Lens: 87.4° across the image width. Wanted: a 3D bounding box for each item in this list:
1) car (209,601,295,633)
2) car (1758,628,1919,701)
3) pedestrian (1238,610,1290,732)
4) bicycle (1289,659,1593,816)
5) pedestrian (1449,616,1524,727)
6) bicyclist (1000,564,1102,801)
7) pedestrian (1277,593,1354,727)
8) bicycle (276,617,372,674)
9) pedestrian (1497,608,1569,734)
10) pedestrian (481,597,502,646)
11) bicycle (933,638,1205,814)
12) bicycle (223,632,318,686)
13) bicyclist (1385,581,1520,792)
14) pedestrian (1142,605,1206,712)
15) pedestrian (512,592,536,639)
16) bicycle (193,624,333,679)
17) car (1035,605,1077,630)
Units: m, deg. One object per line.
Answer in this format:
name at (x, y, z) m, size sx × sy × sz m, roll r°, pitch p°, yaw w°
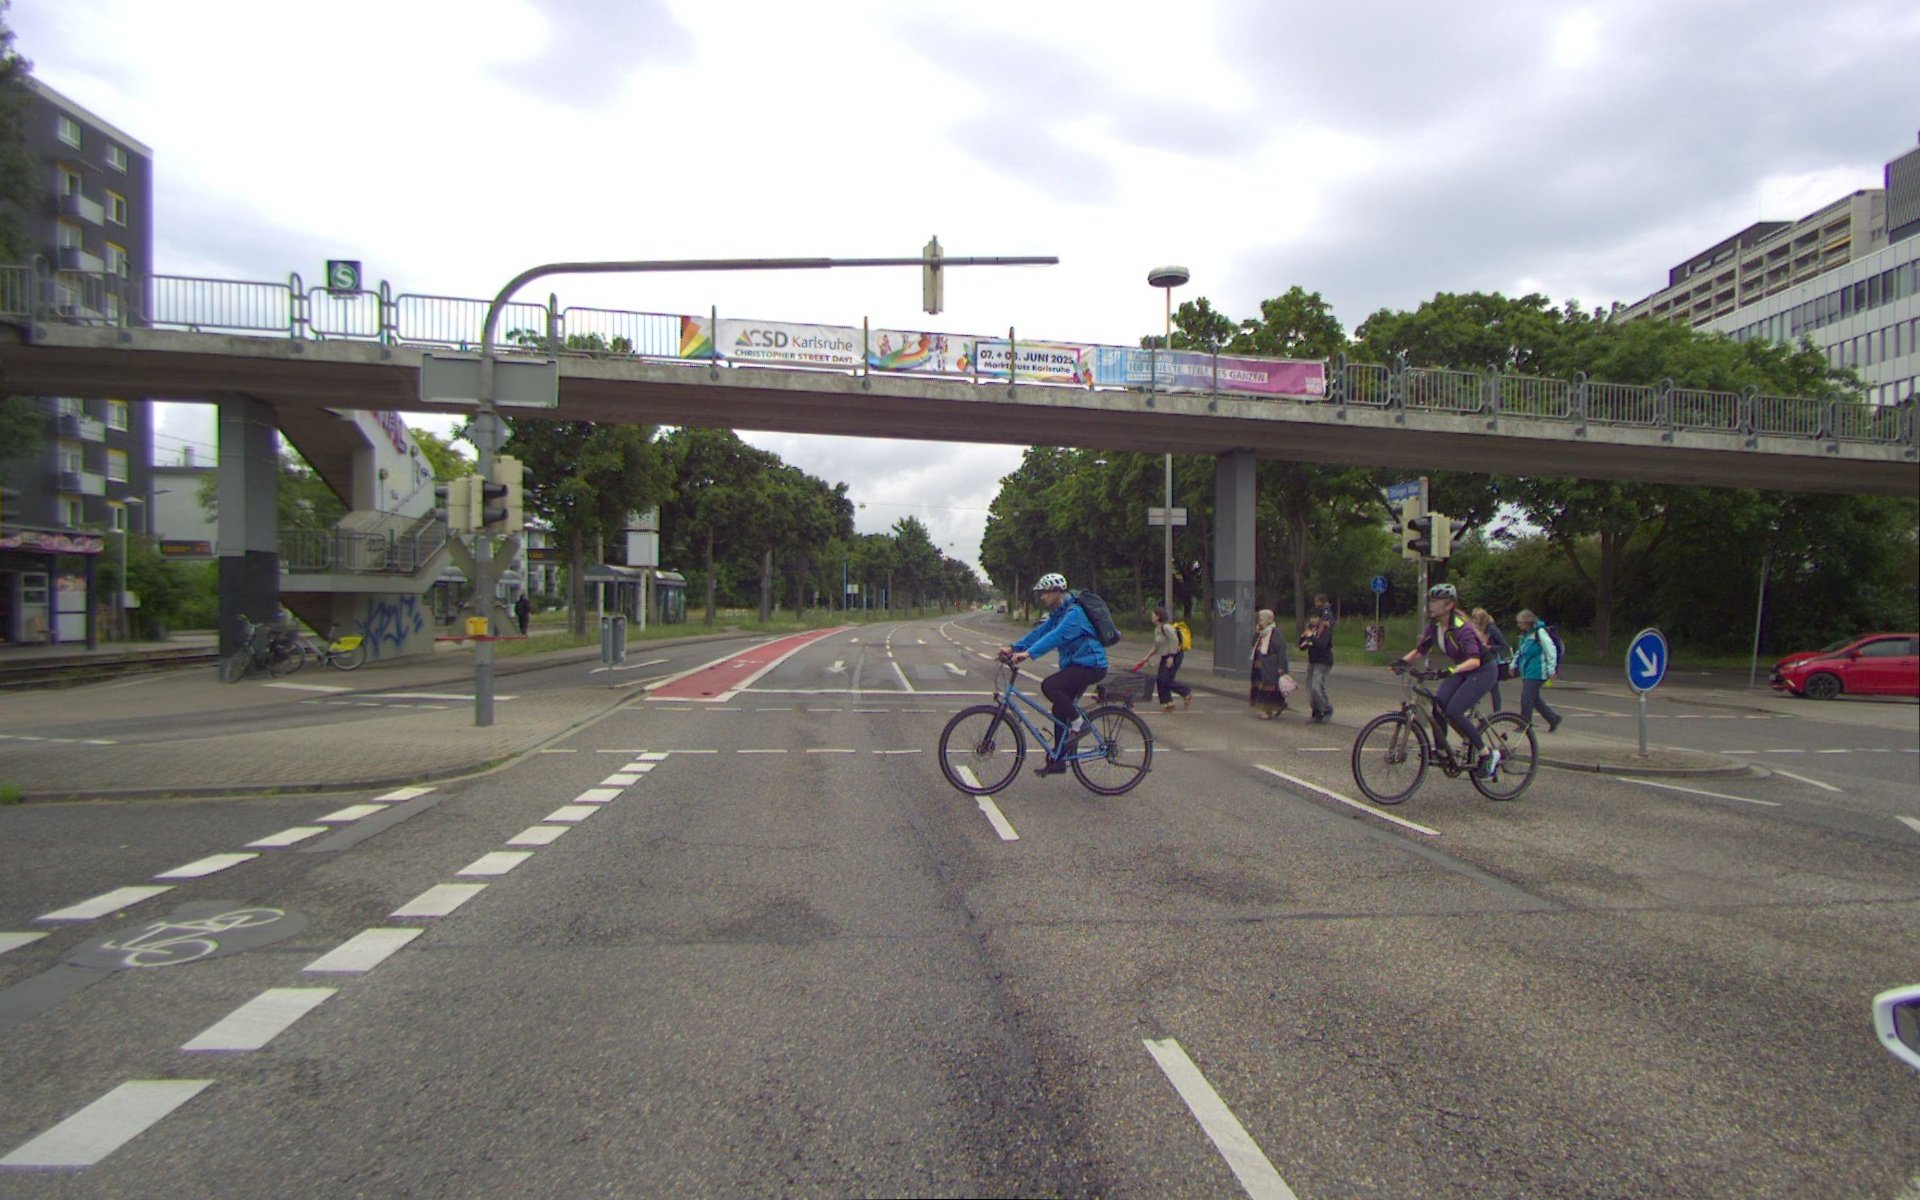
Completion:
car at (-35.891, 0.851, 51.046) m, size 1.636 × 1.581 × 3.999 m, roll 0°, pitch 0°, yaw -1°
car at (19.224, 1.342, 21.203) m, size 3.468 × 1.409 × 1.515 m, roll 1°, pitch 0°, yaw 28°
pedestrian at (4.416, 1.010, 14.607) m, size 0.400 × 1.714 × 0.616 m, roll 0°, pitch 0°, yaw -25°
bicycle at (3.836, 1.056, 8.051) m, size 2.225 × 1.116 × 0.727 m, roll 0°, pitch 0°, yaw -13°
pedestrian at (7.555, 1.002, 14.436) m, size 0.398 × 1.531 × 0.915 m, roll 0°, pitch 0°, yaw -22°
bicyclist at (0.712, 0.629, 7.989) m, size 0.635 × 1.792 × 0.644 m, roll 0°, pitch 0°, yaw -13°
pedestrian at (4.999, 0.817, 14.133) m, size 0.790 × 1.828 × 0.636 m, roll 0°, pitch 0°, yaw -21°
bicycle at (-12.812, 0.896, 20.268) m, size 1.601 × 1.109 × 0.347 m, roll 1°, pitch 0°, yaw -39°
pedestrian at (7.657, 0.929, 13.434) m, size 0.480 × 1.626 × 0.687 m, roll 0°, pitch 0°, yaw -16°
pedestrian at (-15.494, 0.711, 33.196) m, size 0.550 × 1.585 × 0.334 m, roll 0°, pitch 0°, yaw -12°
bicycle at (0.858, 0.954, 7.946) m, size 2.074 × 1.284 × 0.543 m, roll 0°, pitch 0°, yaw -13°
bicycle at (-12.716, 1.070, 18.605) m, size 0.367 × 0.933 × 2.038 m, roll 0°, pitch -1°, yaw -1°
bicyclist at (3.944, 0.668, 8.077) m, size 0.683 × 1.615 × 0.679 m, roll 1°, pitch 0°, yaw -12°
pedestrian at (3.305, 0.888, 15.501) m, size 0.772 × 1.600 × 0.576 m, roll 0°, pitch 0°, yaw -30°
pedestrian at (-15.578, 0.561, 35.901) m, size 0.590 × 1.664 × 0.663 m, roll 0°, pitch 0°, yaw -7°
bicycle at (-12.816, 0.914, 18.577) m, size 0.546 × 0.900 × 2.408 m, roll 0°, pitch 0°, yaw 12°
car at (5.984, 1.064, 63.051) m, size 1.642 × 1.528 × 4.391 m, roll 0°, pitch 0°, yaw -8°
